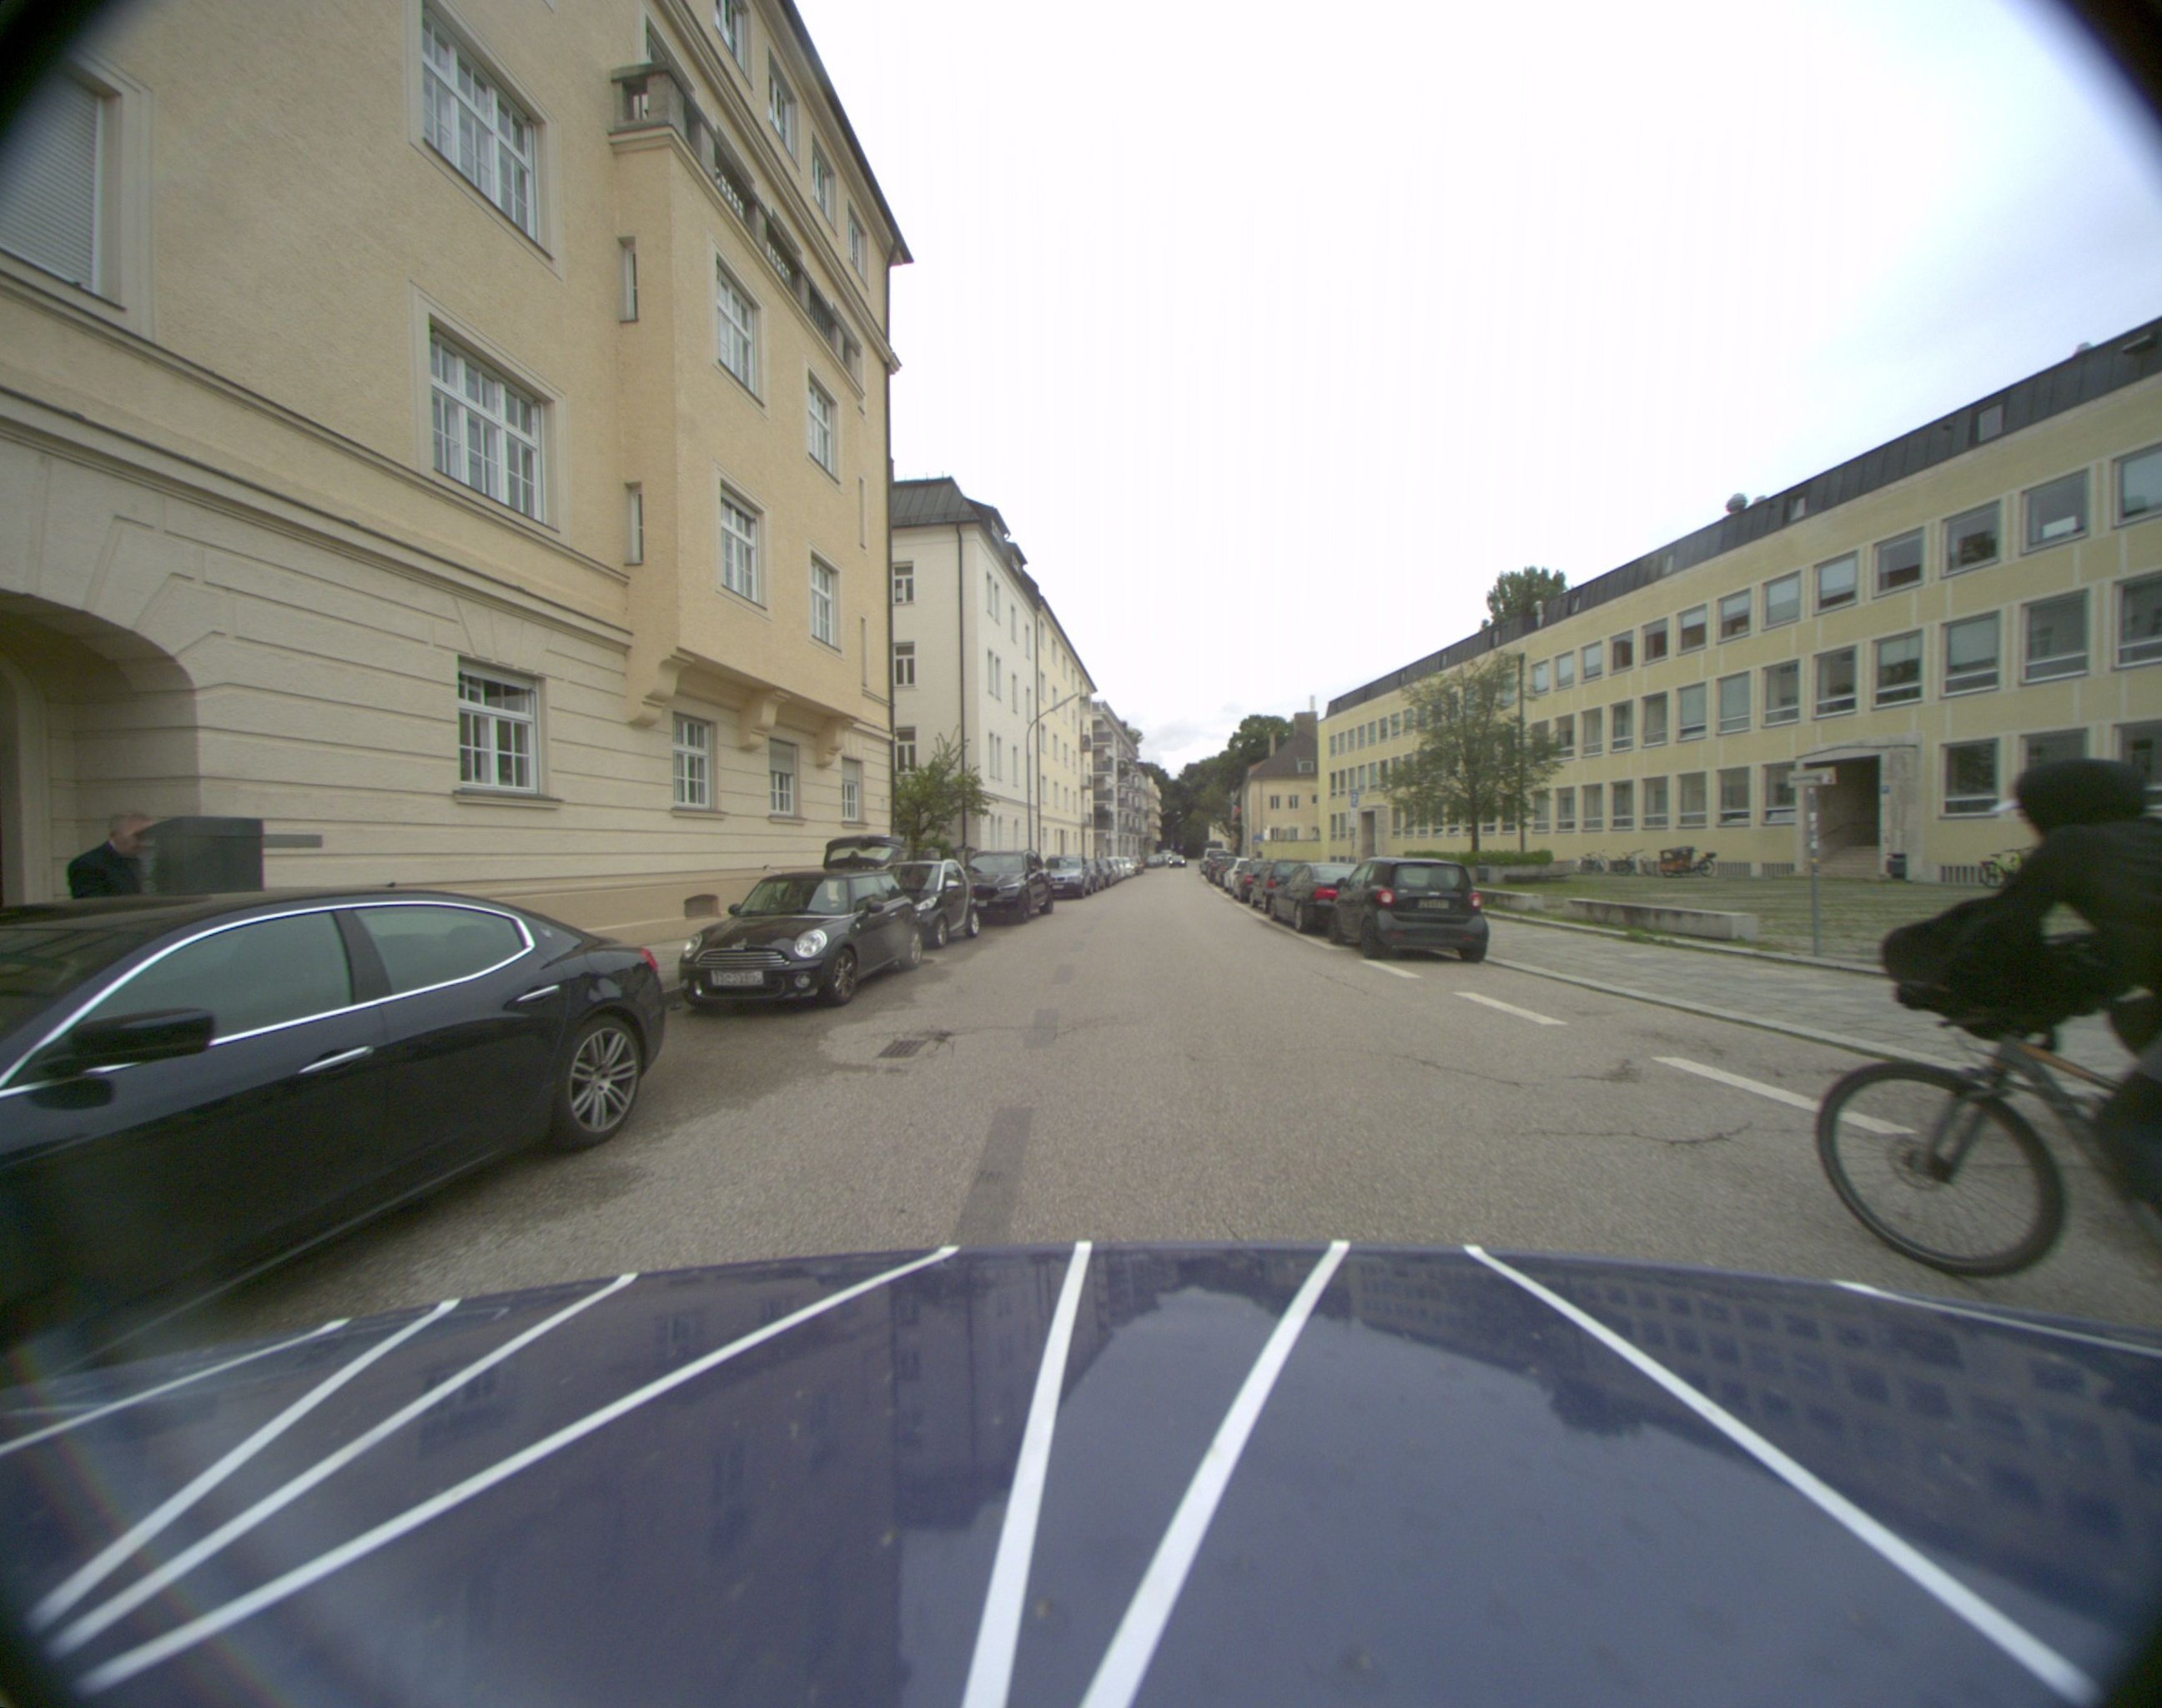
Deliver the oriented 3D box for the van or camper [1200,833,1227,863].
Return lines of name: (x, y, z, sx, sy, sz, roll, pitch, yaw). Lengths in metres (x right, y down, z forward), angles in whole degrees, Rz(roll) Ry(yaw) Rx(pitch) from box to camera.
van or camper: (12.219, -0.571, 69.913, 2.296, 2.636, 5.565, 1, 1, 10)

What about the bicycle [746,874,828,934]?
bicycle: (-5.901, 0.975, 15.379, 0.502, 1.043, 2.139, 2, 1, 9)

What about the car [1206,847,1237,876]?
car: (8.651, 0.401, 46.969, 1.718, 1.680, 4.143, 1, 1, 8)

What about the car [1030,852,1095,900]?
car: (-0.612, 0.781, 29.109, 1.850, 1.654, 4.500, -1, 0, 7)

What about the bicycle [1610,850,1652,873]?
bicycle: (24.513, 0.338, 33.872, 1.609, 0.939, 0.503, -2, 1, -10)

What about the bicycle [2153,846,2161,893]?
bicycle: (26.013, 0.325, 17.534, 1.851, 1.089, 0.702, -2, 1, -9)

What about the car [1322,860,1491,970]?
car: (4.989, 0.854, 12.019, 1.522, 1.457, 2.887, 1, 1, 3)

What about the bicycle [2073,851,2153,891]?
bicycle: (25.792, 0.428, 18.991, 1.410, 0.939, 0.414, -2, 1, 0)

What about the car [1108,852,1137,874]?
car: (3.011, 0.625, 54.079, 1.728, 1.421, 4.296, -2, 0, 7)

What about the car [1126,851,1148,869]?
car: (4.779, 0.499, 64.750, 1.658, 1.421, 3.758, -2, 0, 7)

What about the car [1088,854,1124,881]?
car: (1.500, 0.731, 44.238, 1.728, 1.441, 4.189, -2, 0, 7)

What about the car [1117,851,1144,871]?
car: (3.956, 0.519, 59.773, 1.776, 1.421, 4.617, -2, 0, 8)

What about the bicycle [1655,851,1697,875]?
bicycle: (24.667, 0.363, 31.495, 1.610, 0.939, 0.502, -2, 1, -16)

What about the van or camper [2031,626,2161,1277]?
van or camper: (5.678, 0.424, 0.434, 2.304, 2.566, 6.081, 1, 1, -6)

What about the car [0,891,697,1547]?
car: (-3.616, 1.009, 2.467, 1.912, 1.469, 4.947, -2, 0, 4)

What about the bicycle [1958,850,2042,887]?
bicycle: (25.437, 0.397, 21.028, 1.957, 0.939, 0.414, -2, 1, -4)

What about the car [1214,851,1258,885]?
car: (7.474, 0.637, 36.954, 1.634, 1.486, 4.102, 1, 1, 5)

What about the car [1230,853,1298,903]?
car: (6.005, 0.732, 25.371, 1.634, 1.486, 4.277, 1, 1, 6)

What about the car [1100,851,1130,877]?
car: (2.224, 0.619, 49.495, 1.654, 1.535, 3.995, -2, 0, 6)

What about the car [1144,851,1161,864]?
car: (8.261, 0.390, 87.282, 1.775, 1.467, 4.219, -1, 0, 7)

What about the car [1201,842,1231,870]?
car: (10.081, 0.144, 57.128, 1.919, 1.948, 4.964, 1, 0, 6)

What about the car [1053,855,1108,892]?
car: (0.044, 0.825, 33.915, 1.831, 1.441, 4.086, -2, 0, 8)

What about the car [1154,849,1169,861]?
car: (10.661, 0.142, 100.114, 1.794, 1.473, 4.605, -2, 0, 7)

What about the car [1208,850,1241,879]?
car: (7.819, 0.544, 41.677, 1.634, 1.486, 3.822, 0, 1, 8)

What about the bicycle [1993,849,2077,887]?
bicycle: (25.457, 0.368, 20.272, 1.863, 0.939, 0.414, -2, 1, -4)

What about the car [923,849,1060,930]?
car: (-2.051, 0.779, 19.196, 2.174, 1.729, 5.027, -2, 0, 8)

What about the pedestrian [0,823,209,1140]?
pedestrian: (-5.983, 0.671, 4.475, 0.618, 1.681, 0.919, 3, 2, 8)

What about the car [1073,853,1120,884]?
car: (0.853, 0.725, 39.313, 1.879, 1.441, 4.680, -2, 0, 8)

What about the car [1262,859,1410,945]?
car: (5.127, 0.873, 15.926, 1.778, 1.457, 4.467, 1, 0, 3)

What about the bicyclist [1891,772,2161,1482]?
bicyclist: (3.054, 0.684, 2.082, 0.747, 1.761, 0.815, 2, 0, -5)

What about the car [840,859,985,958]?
car: (-2.936, 0.900, 13.819, 1.516, 1.545, 3.021, -2, 0, 9)

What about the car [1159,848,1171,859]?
car: (12.084, -0.080, 109.672, 1.667, 1.459, 4.377, 0, 2, 7)

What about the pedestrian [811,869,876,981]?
pedestrian: (-3.337, 0.983, 10.712, 0.629, 1.520, 0.578, -2, 1, 7)

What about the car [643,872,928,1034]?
car: (-3.173, 0.984, 9.005, 1.634, 1.409, 3.681, -2, 0, 5)

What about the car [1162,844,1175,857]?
car: (14.320, -0.620, 124.256, 1.857, 2.019, 4.786, -1, 0, 9)

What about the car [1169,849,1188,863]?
car: (10.853, 0.236, 84.592, 1.997, 1.521, 4.003, -2, 0, 9)

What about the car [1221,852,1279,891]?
car: (6.780, 0.660, 30.890, 1.744, 1.414, 4.296, -1, 0, 6)

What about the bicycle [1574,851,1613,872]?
bicycle: (24.375, 0.348, 36.138, 1.609, 0.939, 0.503, -2, 1, -10)

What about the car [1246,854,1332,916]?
car: (5.635, 0.788, 20.958, 1.634, 1.486, 3.605, 2, 1, 5)

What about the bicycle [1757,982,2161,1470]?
bicycle: (3.041, 1.038, 2.028, 0.587, 1.063, 1.935, 1, 0, -6)

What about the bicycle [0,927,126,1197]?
bicycle: (-5.568, 1.035, 3.283, 0.638, 1.251, 1.672, -1, 1, 7)
